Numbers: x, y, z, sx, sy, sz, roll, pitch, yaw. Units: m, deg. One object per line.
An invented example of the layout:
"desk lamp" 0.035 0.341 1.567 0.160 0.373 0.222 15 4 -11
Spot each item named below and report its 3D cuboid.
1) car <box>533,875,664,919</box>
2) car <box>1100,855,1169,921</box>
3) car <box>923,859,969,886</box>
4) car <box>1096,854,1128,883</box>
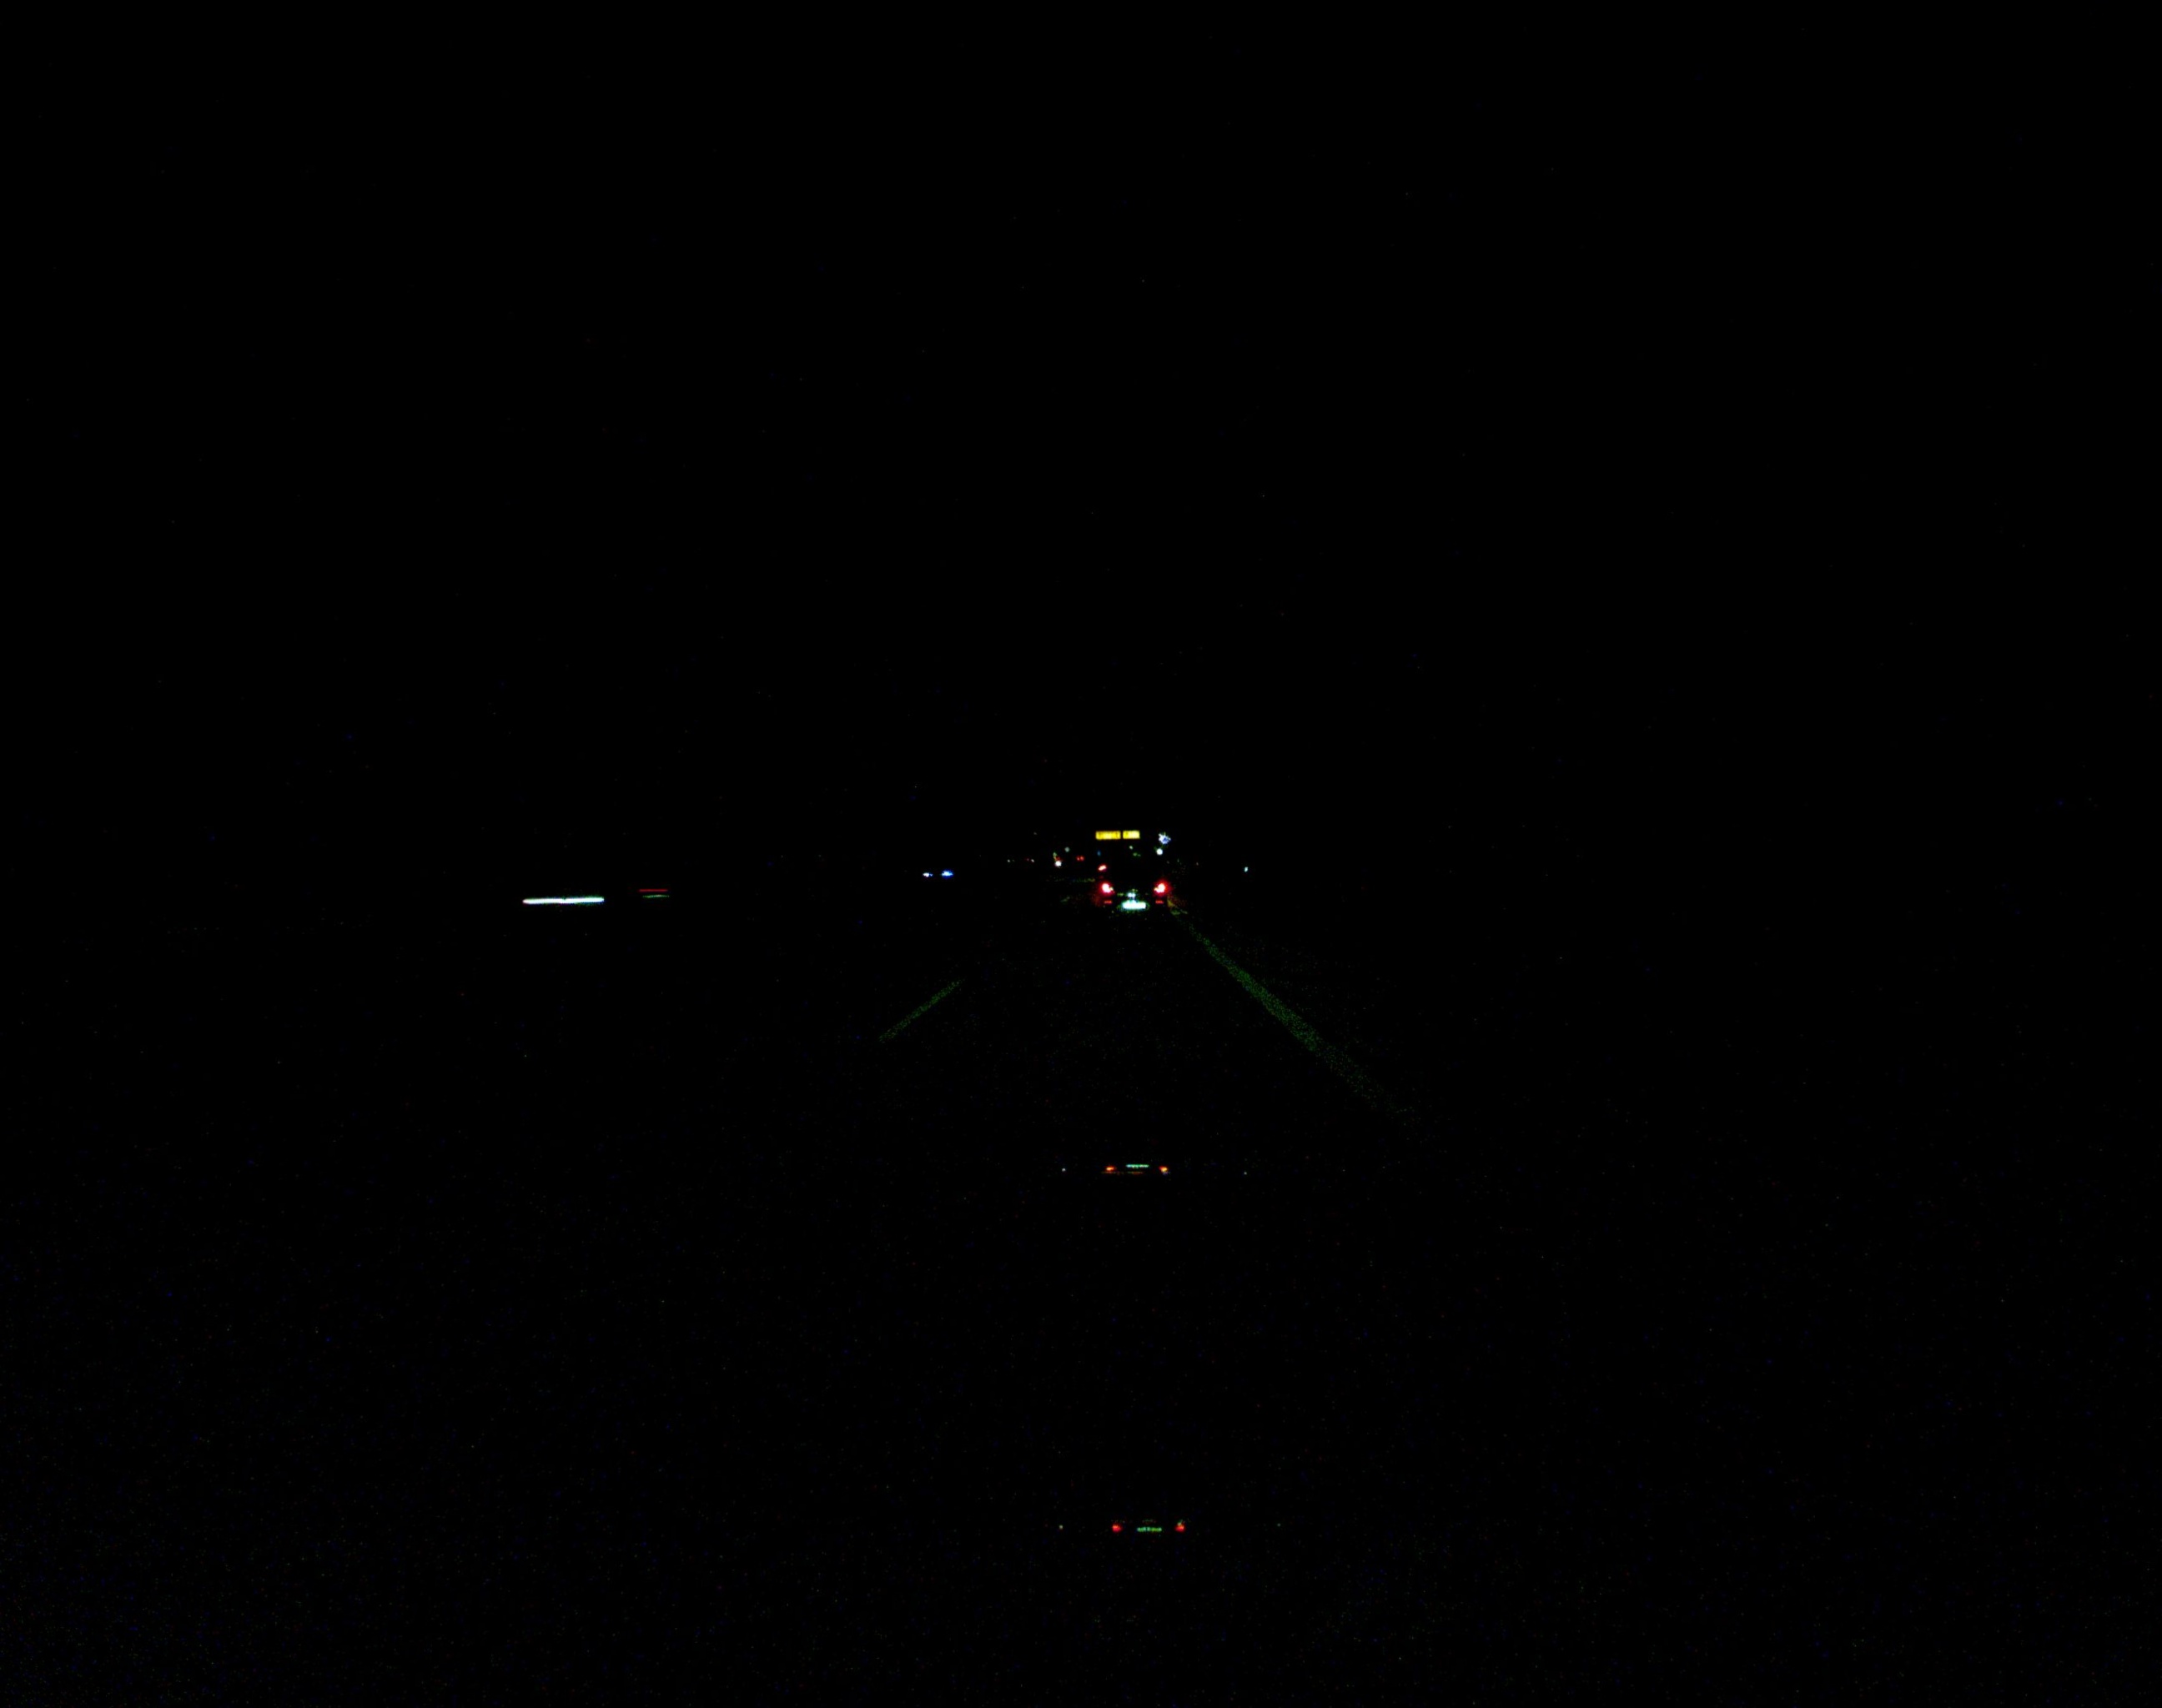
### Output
"car" -17.498 1.511 29.860 1.764 1.411 4.846 0 -1 2
"car" 1.300 0.795 20.942 1.582 1.508 4.001 1 0 1
"car" -9.426 1.275 57.262 1.949 1.733 5.085 -2 0 4
"car" 1.916 0.853 50.576 1.899 1.698 4.003 -1 0 2
